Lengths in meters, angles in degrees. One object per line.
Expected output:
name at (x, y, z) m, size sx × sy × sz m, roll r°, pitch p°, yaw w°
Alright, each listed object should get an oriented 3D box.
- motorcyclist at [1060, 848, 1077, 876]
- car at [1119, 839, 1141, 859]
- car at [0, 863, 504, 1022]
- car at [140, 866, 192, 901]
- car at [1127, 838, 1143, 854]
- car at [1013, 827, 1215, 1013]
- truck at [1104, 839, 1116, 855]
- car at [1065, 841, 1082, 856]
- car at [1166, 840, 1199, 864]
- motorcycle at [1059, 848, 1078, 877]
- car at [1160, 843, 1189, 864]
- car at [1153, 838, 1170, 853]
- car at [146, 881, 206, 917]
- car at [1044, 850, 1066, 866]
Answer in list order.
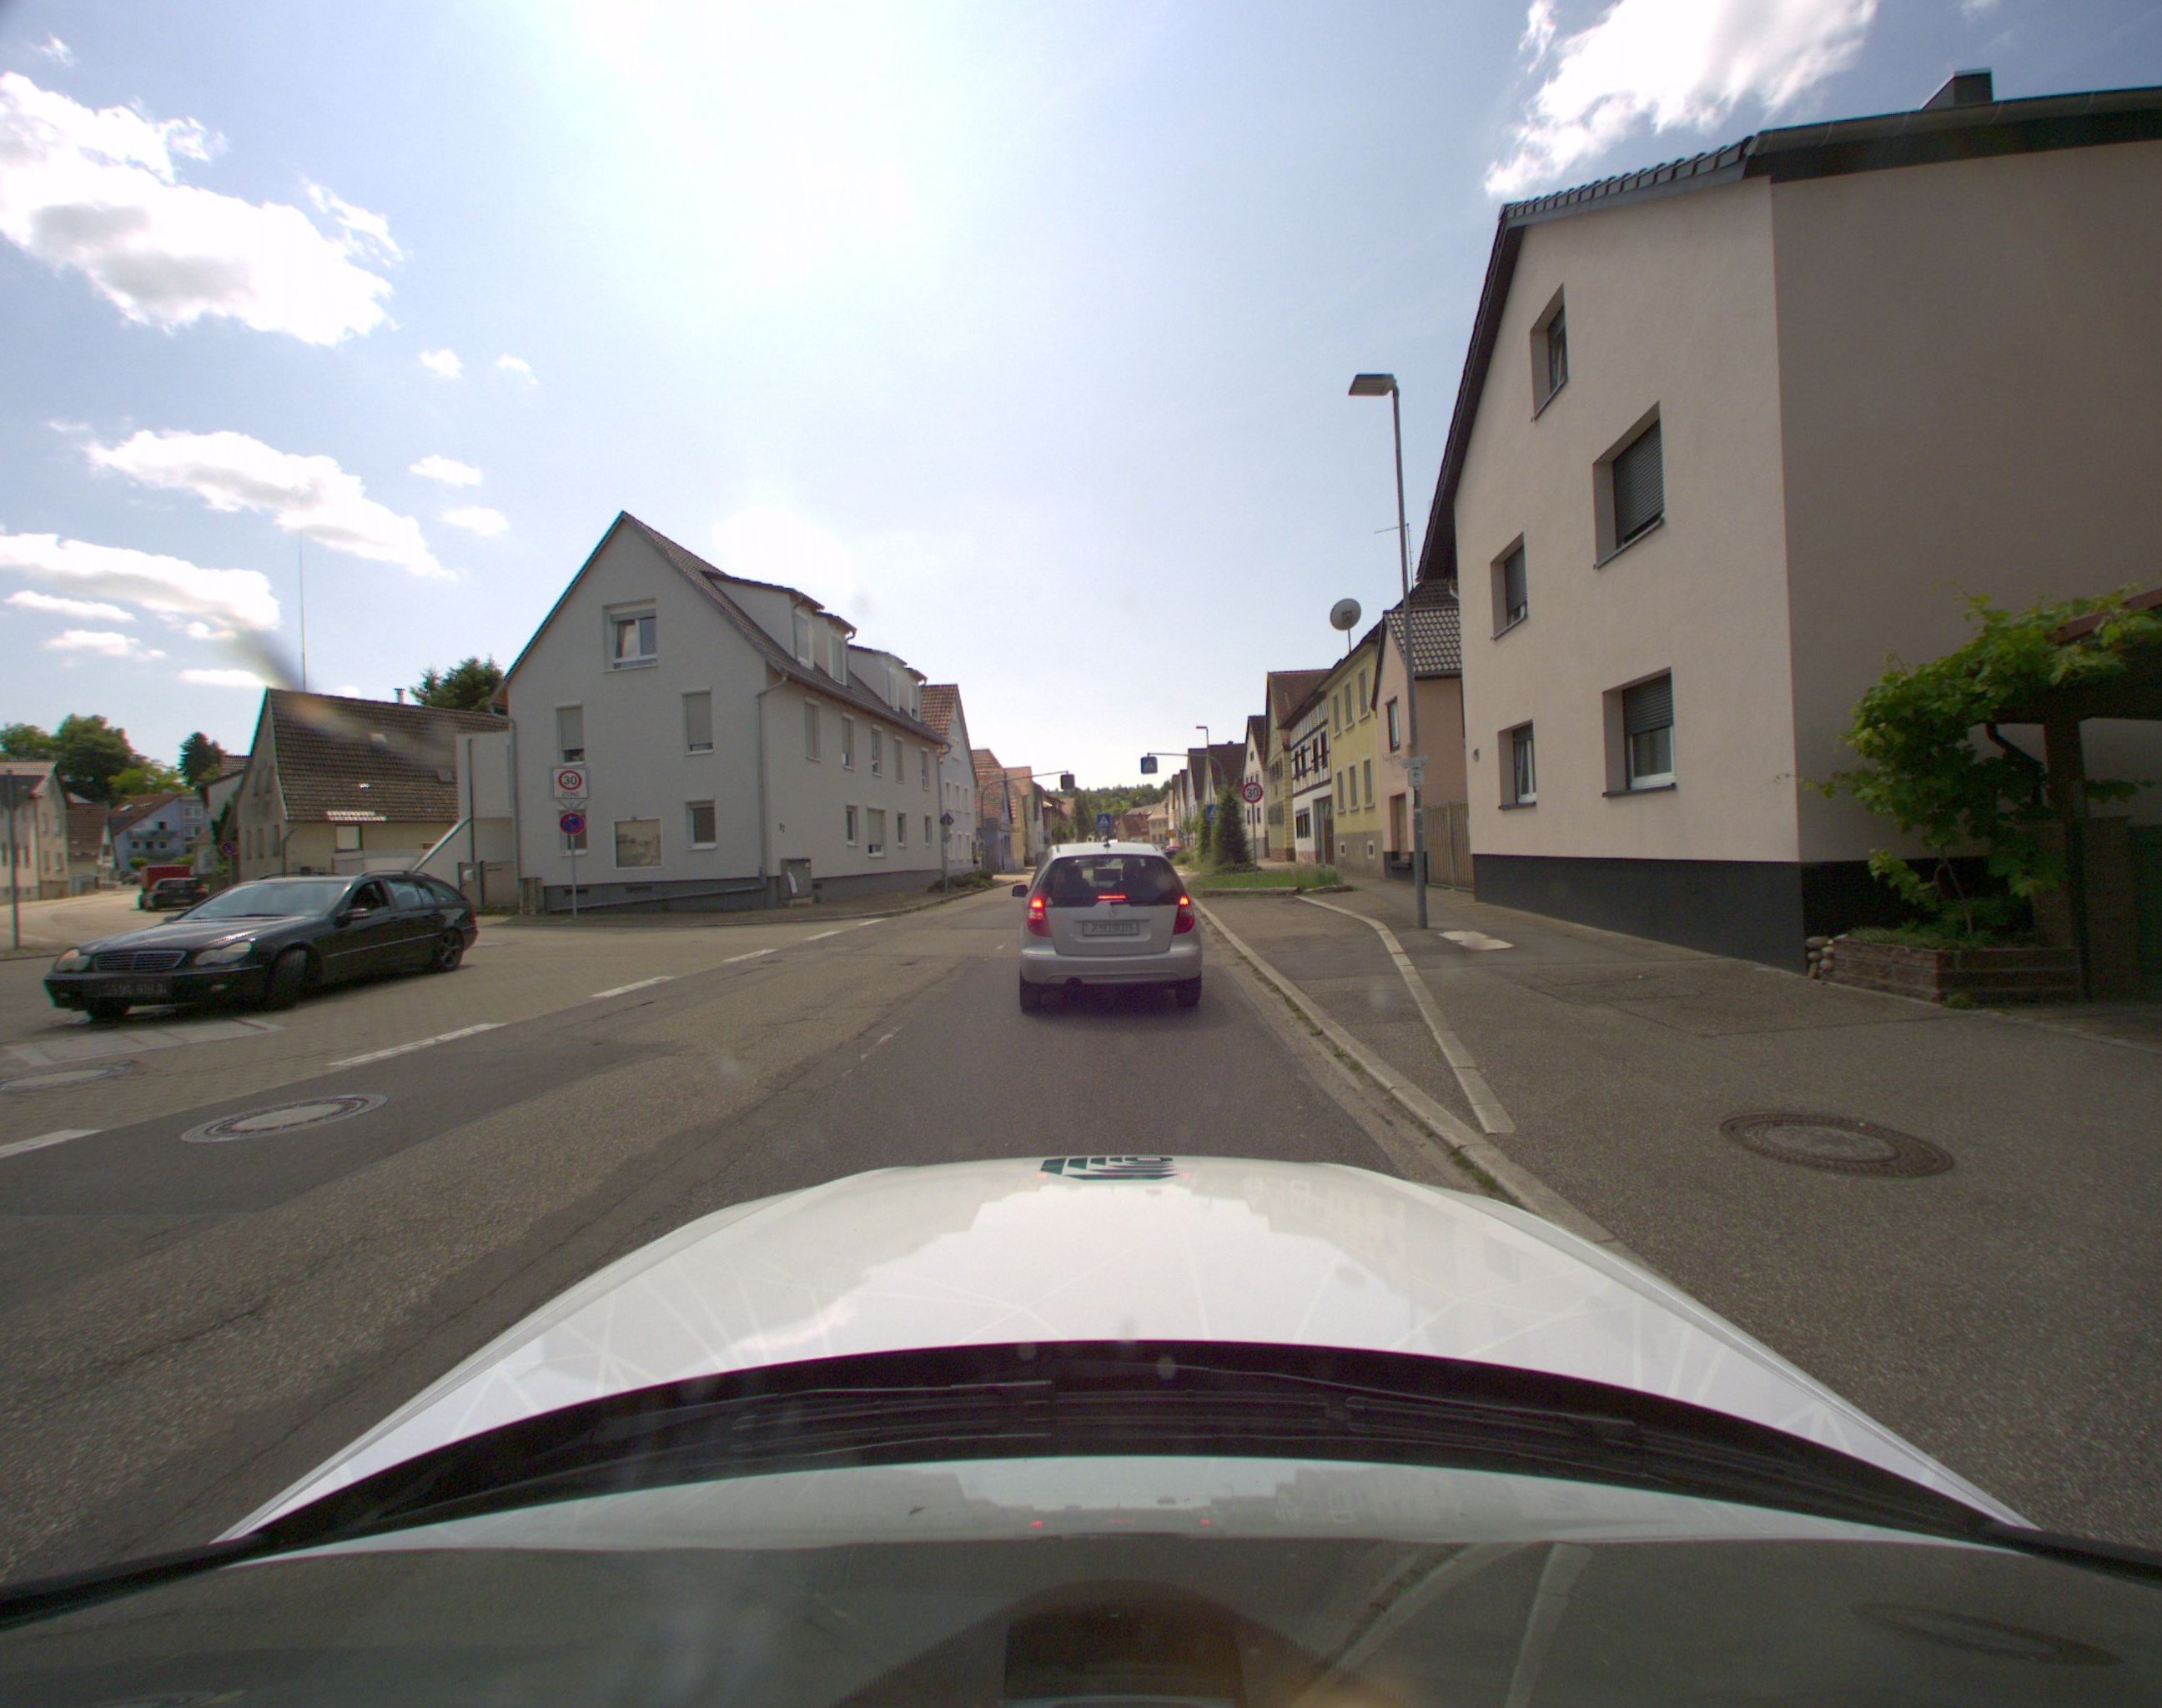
motorcyclist at (-0.702, 0.439, 46.532) m, size 0.893 × 1.554 × 0.807 m, roll -2°, pitch 0°, yaw 2°
car at (4.779, -0.462, 79.620) m, size 1.986 × 1.816 × 4.001 m, roll -2°, pitch -2°, yaw 2°
car at (-9.328, 0.879, 9.902) m, size 1.807 × 1.412 × 4.623 m, roll -1°, pitch -2°, yaw -8°
car at (-45.864, 1.482, 40.809) m, size 3.431 × 1.635 × 1.406 m, roll -3°, pitch -2°, yaw 36°
car at (7.217, -1.071, 109.318) m, size 1.985 × 2.014 × 4.003 m, roll -2°, pitch -2°, yaw 3°
car at (0.184, 0.587, 9.157) m, size 1.807 × 1.643 × 3.724 m, roll 0°, pitch 0°, yaw -4°
truck at (5.214, -1.259, 144.201) m, size 1.986 × 2.537 × 6.742 m, roll -2°, pitch -2°, yaw 2°
car at (-0.826, -0.582, 94.094) m, size 1.660 × 1.596 × 4.003 m, roll -2°, pitch -2°, yaw 3°
car at (7.104, -0.099, 57.426) m, size 1.985 × 1.508 × 4.003 m, roll -2°, pitch -2°, yaw 3°
motorcycle at (-0.706, 0.454, 46.510) m, size 0.877 × 1.561 × 1.969 m, roll -2°, pitch 1°, yaw 2°
car at (7.369, 0.022, 64.251) m, size 1.985 × 1.508 × 4.003 m, roll -2°, pitch -2°, yaw 3°
car at (10.639, -1.074, 107.736) m, size 1.986 × 1.816 × 4.001 m, roll -2°, pitch -2°, yaw 2°
car at (-41.560, 2.070, 37.397) m, size 3.431 × 1.530 × 1.500 m, roll -3°, pitch -2°, yaw 36°
car at (-2.409, 0.381, 75.099) m, size 1.988 × 1.321 × 3.705 m, roll -2°, pitch -2°, yaw -2°
